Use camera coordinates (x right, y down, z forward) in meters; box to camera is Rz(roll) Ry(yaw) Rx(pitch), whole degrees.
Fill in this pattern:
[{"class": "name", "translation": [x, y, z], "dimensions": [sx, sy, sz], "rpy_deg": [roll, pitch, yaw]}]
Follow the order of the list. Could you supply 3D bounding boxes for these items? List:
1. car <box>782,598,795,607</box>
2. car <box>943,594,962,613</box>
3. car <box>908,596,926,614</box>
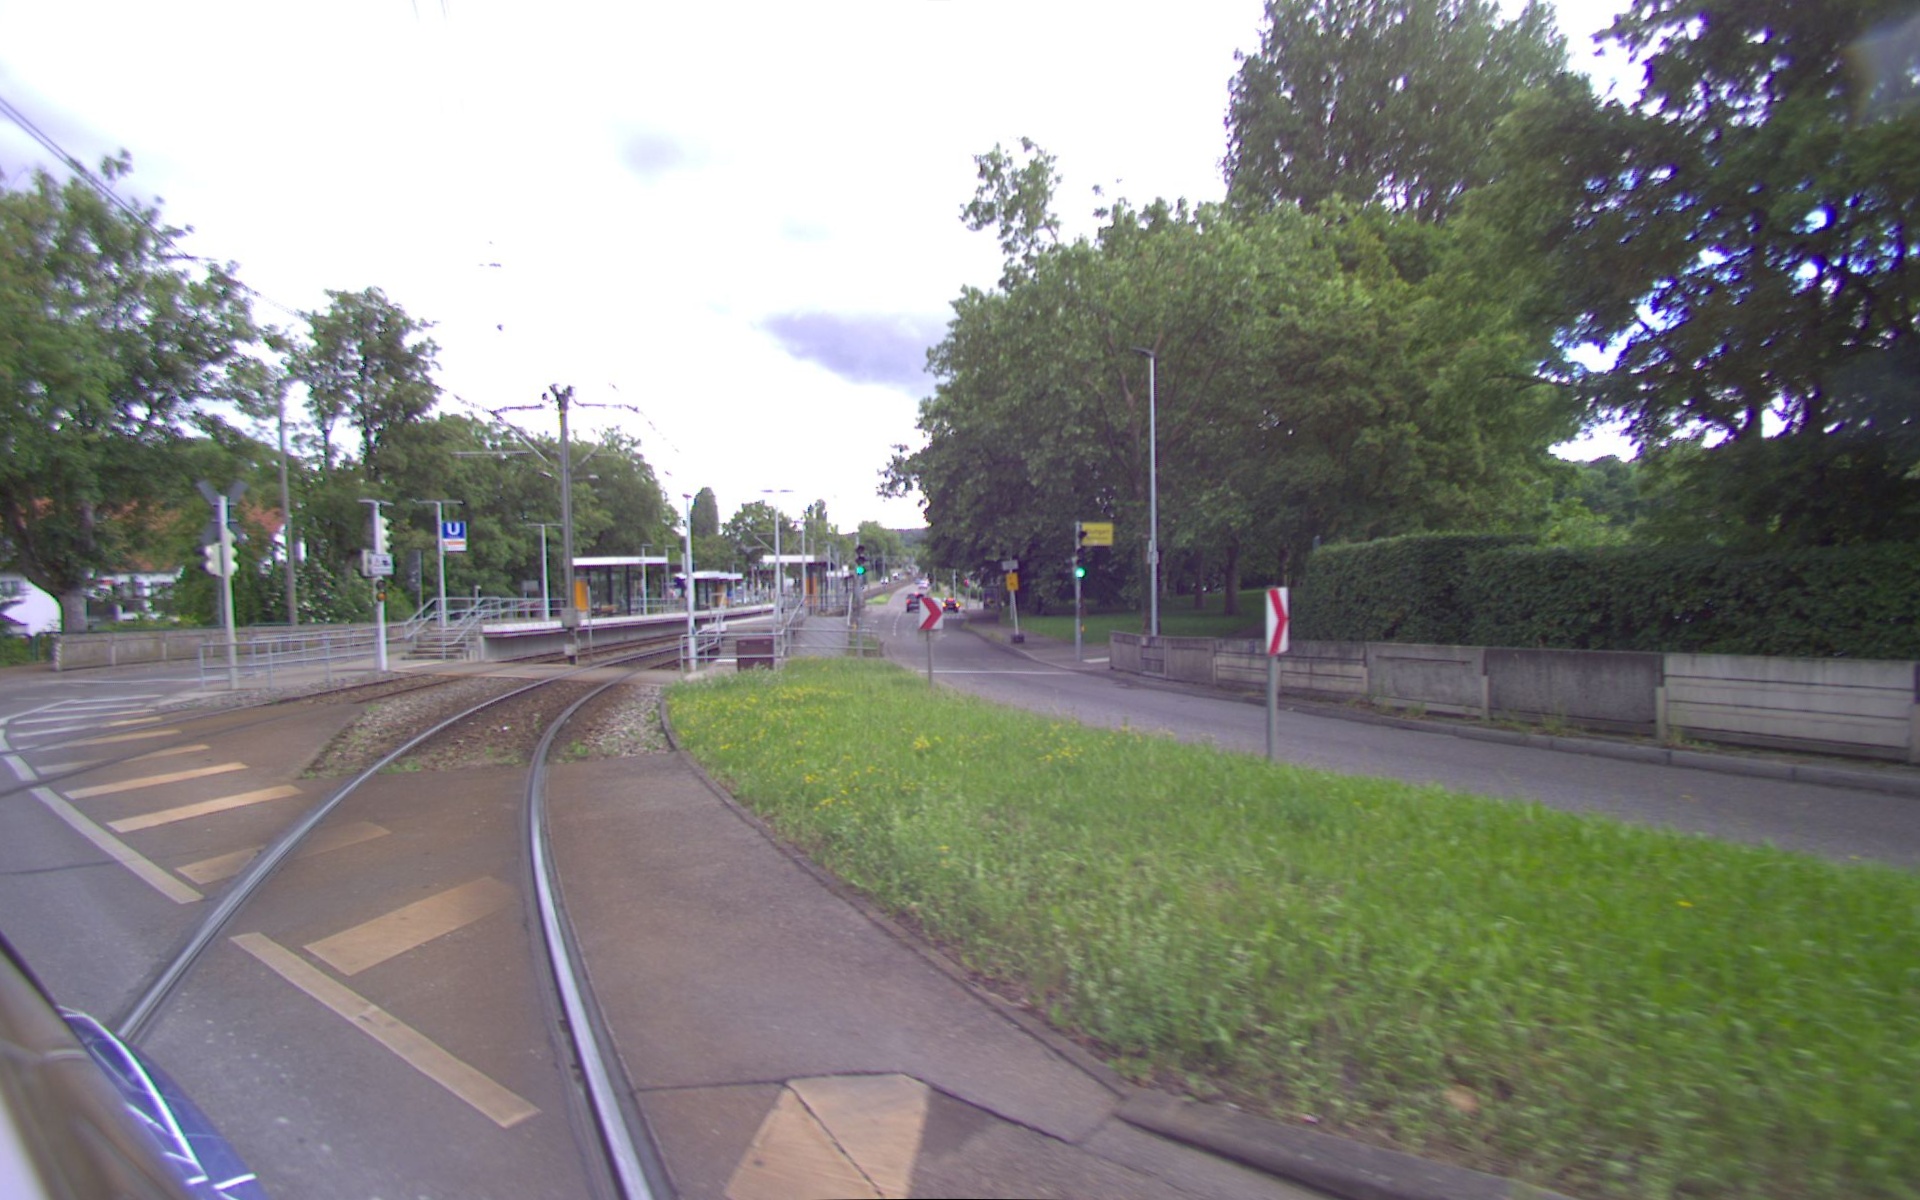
[{"class": "car", "translation": [-25.131, 0.307, 148.454], "dimensions": [1.691, 1.294, 3.578], "rpy_deg": [0, 0, -5]}, {"class": "car", "translation": [-0.779, 0.385, 101.179], "dimensions": [1.717, 1.853, 3.801], "rpy_deg": [0, 0, -2]}, {"class": "car", "translation": [-4.310, 0.477, 101.769], "dimensions": [1.746, 1.712, 3.796], "rpy_deg": [0, 0, -2]}]
